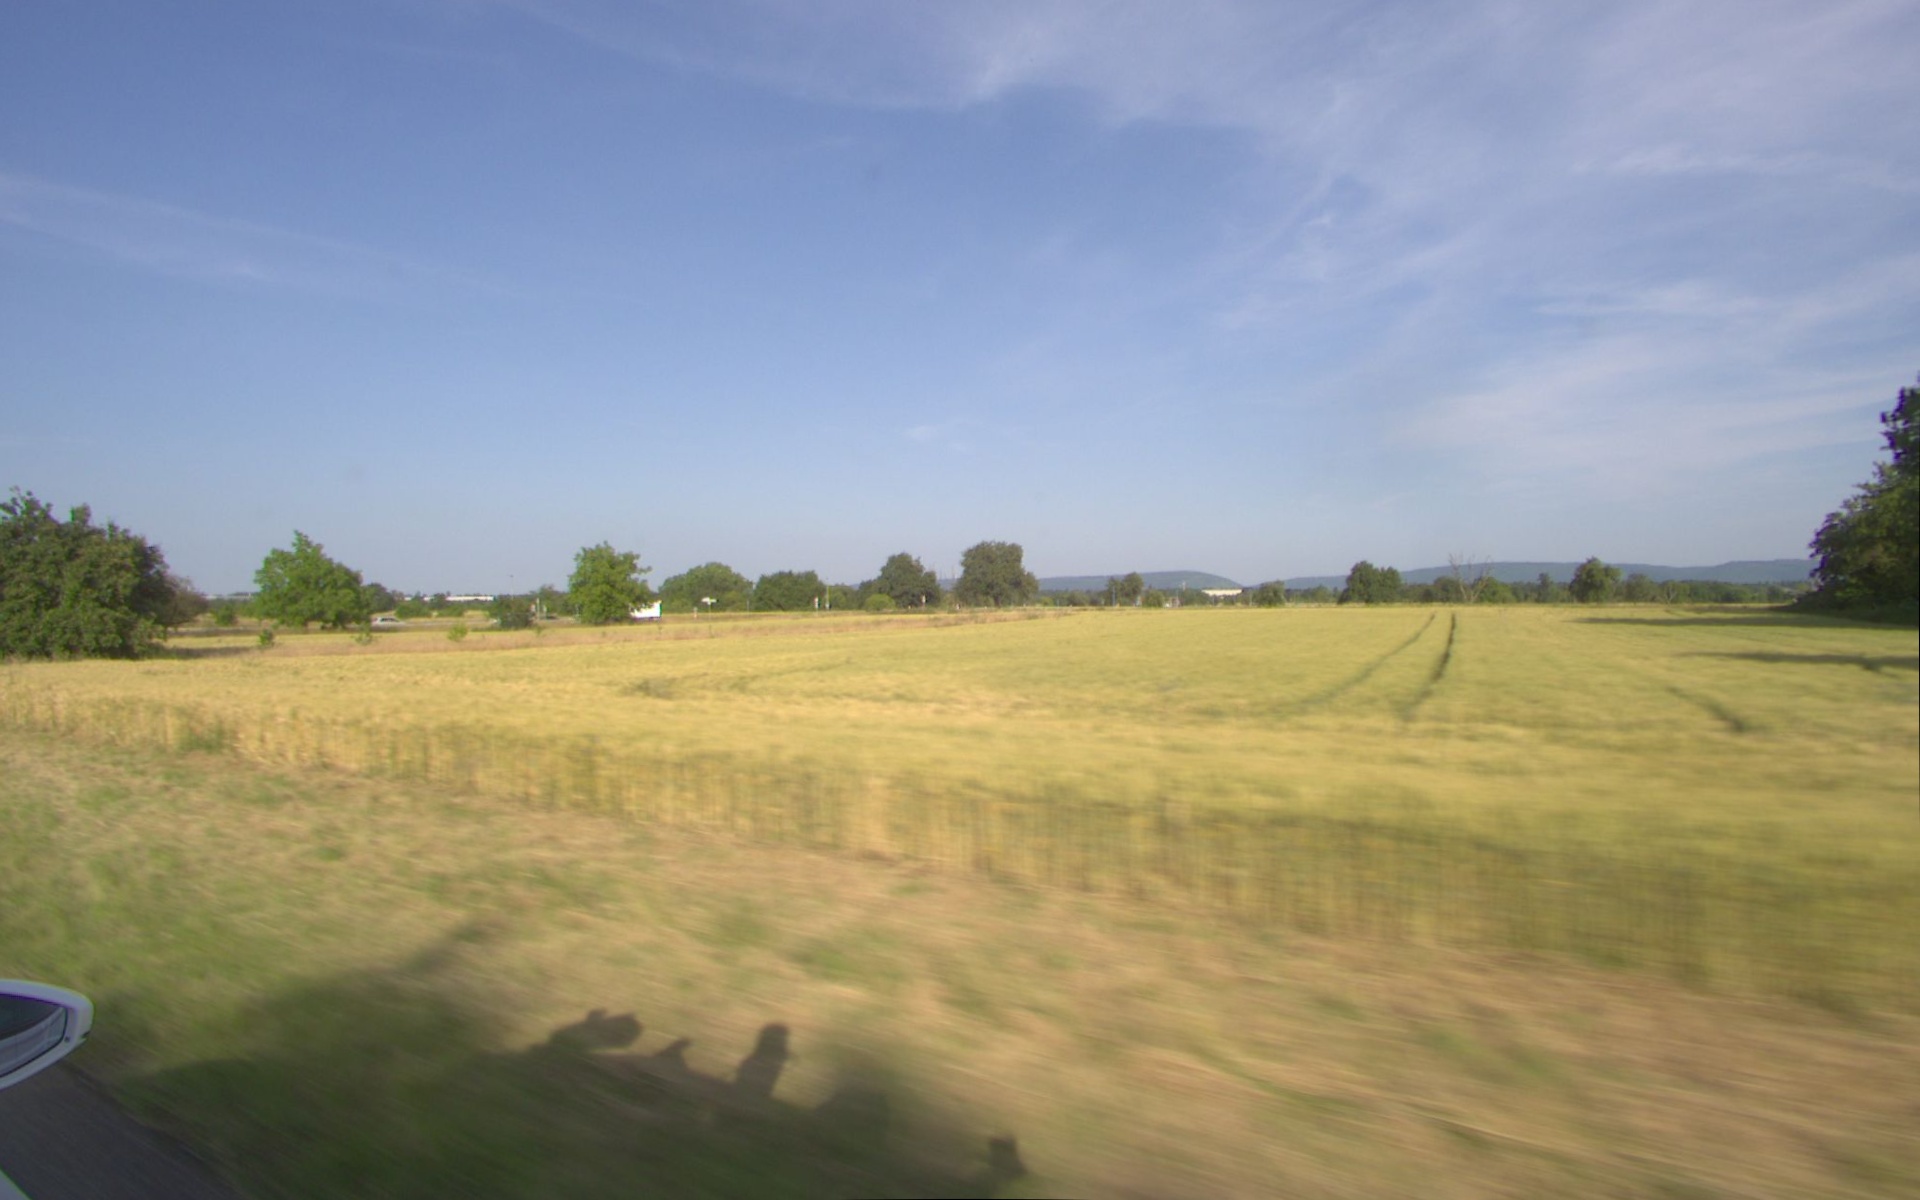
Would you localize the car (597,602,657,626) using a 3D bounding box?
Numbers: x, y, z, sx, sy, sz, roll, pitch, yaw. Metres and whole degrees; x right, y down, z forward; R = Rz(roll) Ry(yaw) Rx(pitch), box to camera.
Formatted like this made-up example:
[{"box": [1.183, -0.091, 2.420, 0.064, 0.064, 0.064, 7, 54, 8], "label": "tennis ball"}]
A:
[{"box": [-41.817, 1.749, 126.078, 2.293, 2.831, 6.985, -1, -2, 41], "label": "car"}]
